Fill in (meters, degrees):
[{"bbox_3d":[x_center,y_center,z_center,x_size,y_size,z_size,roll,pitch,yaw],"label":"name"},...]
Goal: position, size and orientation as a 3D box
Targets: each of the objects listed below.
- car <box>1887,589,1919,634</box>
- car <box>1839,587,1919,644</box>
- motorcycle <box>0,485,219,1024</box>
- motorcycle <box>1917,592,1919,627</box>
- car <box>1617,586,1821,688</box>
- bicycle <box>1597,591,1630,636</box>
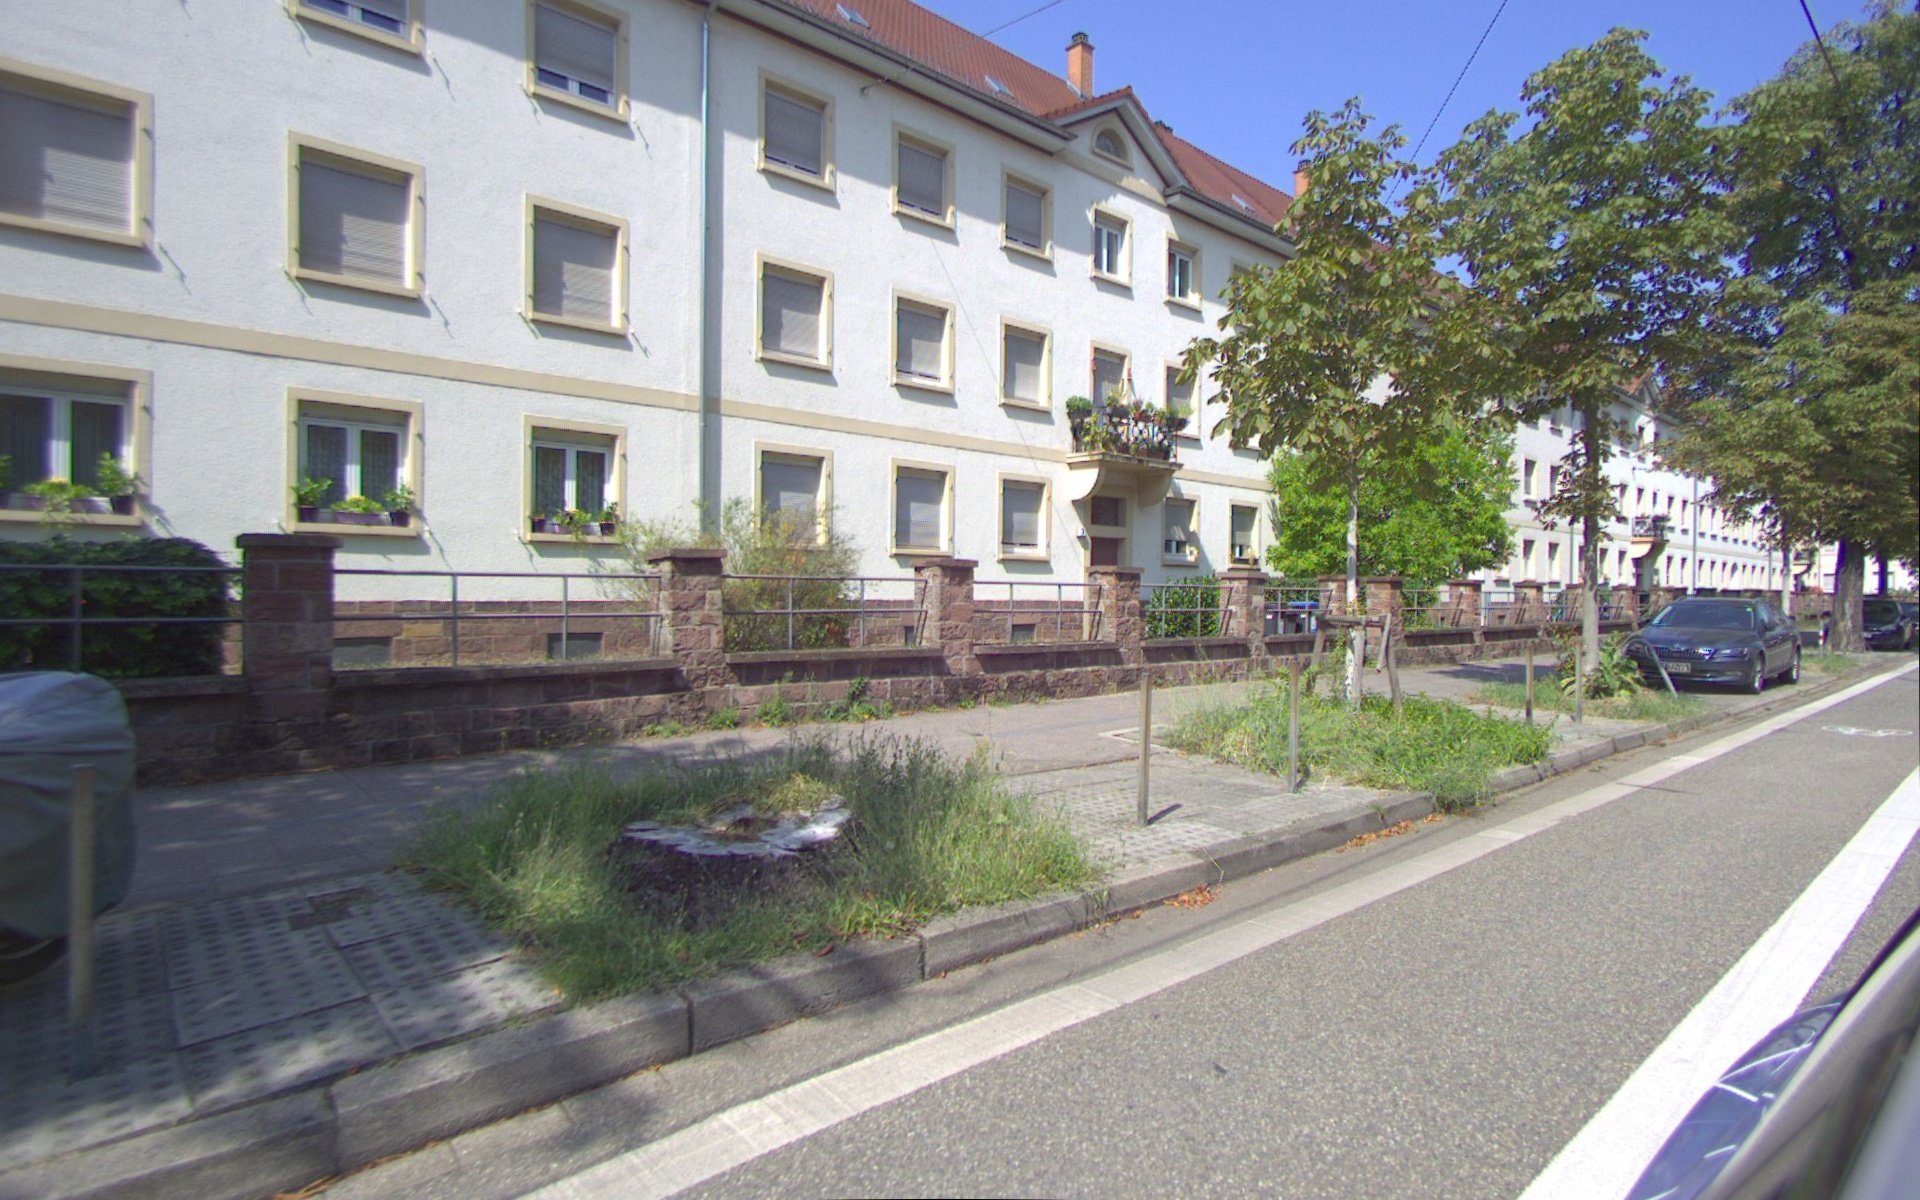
[{"bbox_3d":[34.778,0.399,36.274,4.380,1.495,1.760,-1,5,-41],"label":"car"},{"bbox_3d":[26.784,0.414,29.101,4.311,1.496,1.758,0,1,-42],"label":"car"},{"bbox_3d":[-3.251,0.464,2.601,0.950,1.558,2.348,0,3,0],"label":"motorcycle"},{"bbox_3d":[39.870,0.406,40.649,0.769,1.385,2.006,0,1,-43],"label":"motorcycle"},{"bbox_3d":[13.092,0.533,17.335,4.757,1.496,1.895,0,1,-42],"label":"car"},{"bbox_3d":[19.106,0.377,29.579,1.552,1.273,0.402,0,1,-41],"label":"bicycle"}]
